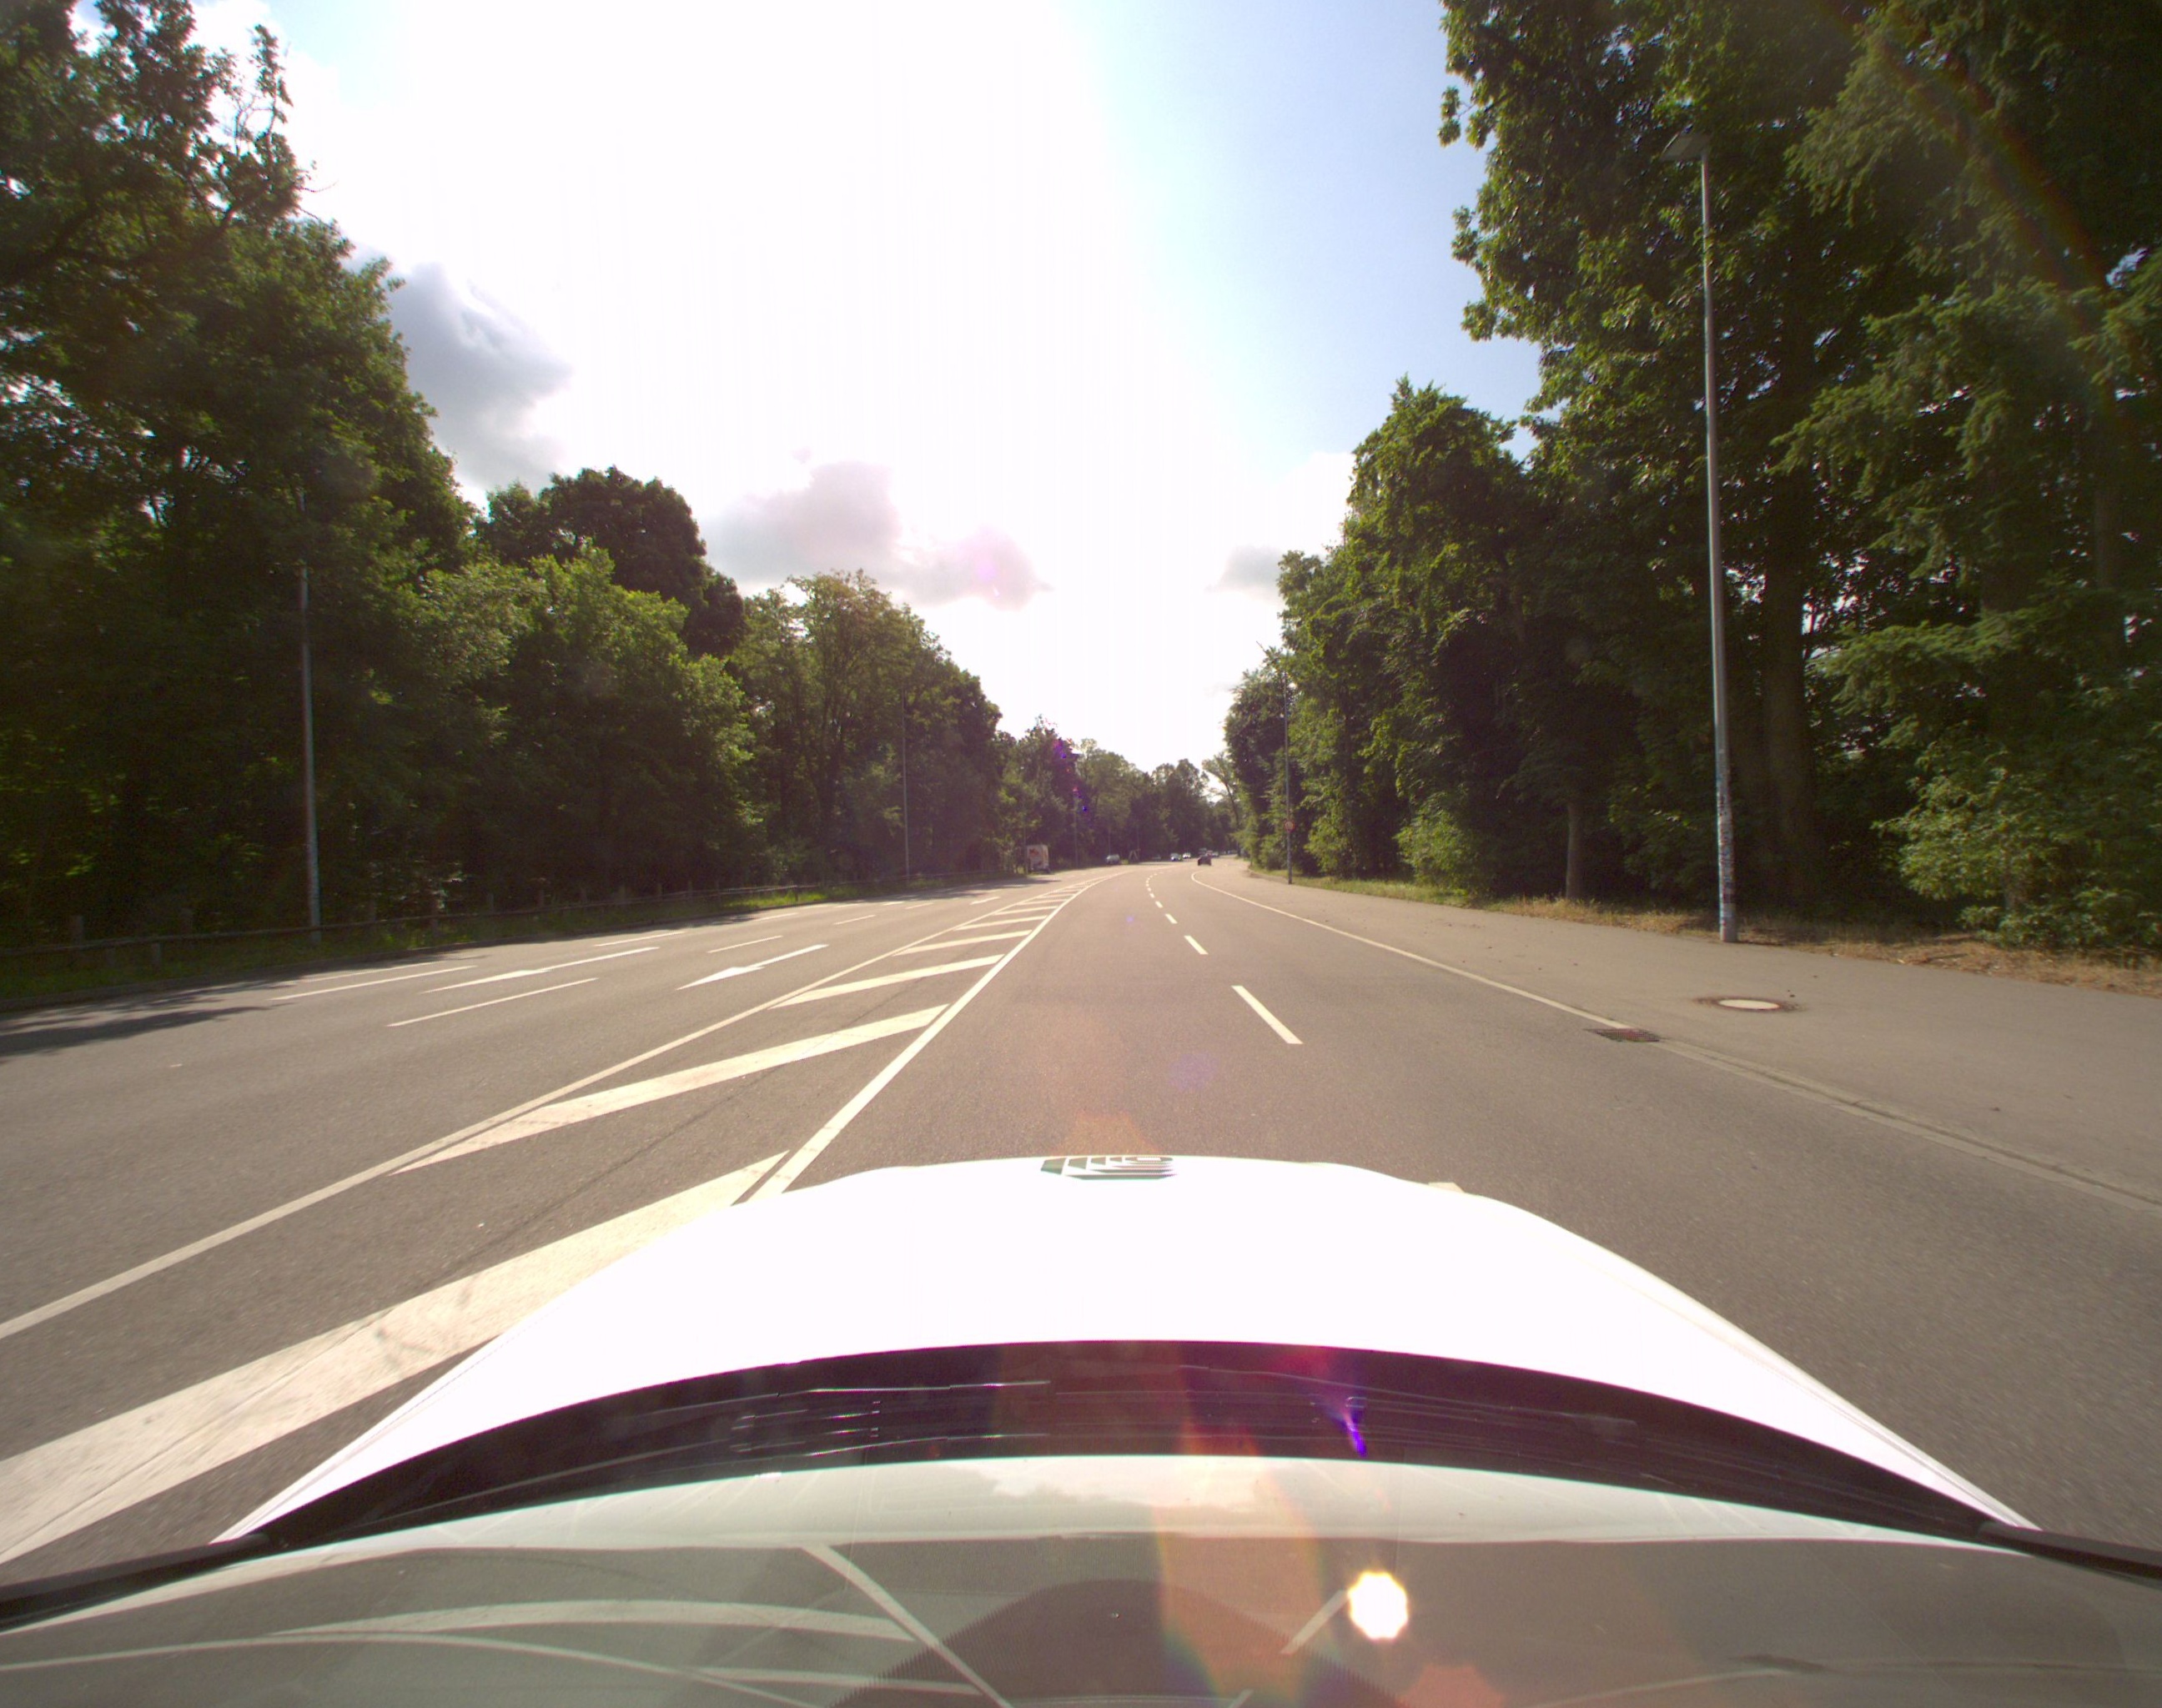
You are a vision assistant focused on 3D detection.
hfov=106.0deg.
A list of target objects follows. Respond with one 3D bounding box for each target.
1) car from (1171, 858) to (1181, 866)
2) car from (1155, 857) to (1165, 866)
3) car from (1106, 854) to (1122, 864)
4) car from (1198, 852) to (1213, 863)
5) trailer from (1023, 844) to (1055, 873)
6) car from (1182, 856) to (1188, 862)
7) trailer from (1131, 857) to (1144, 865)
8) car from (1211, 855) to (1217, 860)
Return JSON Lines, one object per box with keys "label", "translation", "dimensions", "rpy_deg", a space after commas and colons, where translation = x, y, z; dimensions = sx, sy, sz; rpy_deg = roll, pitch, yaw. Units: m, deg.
{"label": "car", "translation": [18.362, 1.499, 157.623], "dimensions": [1.493, 1.446, 3.542], "rpy_deg": [-1, 0, 14]}
{"label": "car", "translation": [16.426, 1.626, 169.015], "dimensions": [1.912, 1.855, 4.007], "rpy_deg": [-1, 0, 6]}
{"label": "car", "translation": [4.836, 0.715, 118.989], "dimensions": [1.493, 1.446, 3.542], "rpy_deg": [-1, 0, 14]}
{"label": "car", "translation": [17.083, 0.475, 111.692], "dimensions": [1.586, 1.378, 3.990], "rpy_deg": [-1, 0, 13]}
{"label": "trailer", "translation": [-3.622, 0.401, 70.649], "dimensions": [1.982, 2.389, 4.009], "rpy_deg": [-1, 0, 8]}
{"label": "car", "translation": [25.029, 1.201, 195.566], "dimensions": [1.495, 1.446, 3.536], "rpy_deg": [-1, 0, 7]}
{"label": "trailer", "translation": [9.785, 1.157, 141.255], "dimensions": [1.705, 1.355, 3.745], "rpy_deg": [-1, 0, 12]}
{"label": "car", "translation": [37.323, 1.071, 229.303], "dimensions": [1.493, 1.446, 3.540], "rpy_deg": [-1, 0, 12]}
